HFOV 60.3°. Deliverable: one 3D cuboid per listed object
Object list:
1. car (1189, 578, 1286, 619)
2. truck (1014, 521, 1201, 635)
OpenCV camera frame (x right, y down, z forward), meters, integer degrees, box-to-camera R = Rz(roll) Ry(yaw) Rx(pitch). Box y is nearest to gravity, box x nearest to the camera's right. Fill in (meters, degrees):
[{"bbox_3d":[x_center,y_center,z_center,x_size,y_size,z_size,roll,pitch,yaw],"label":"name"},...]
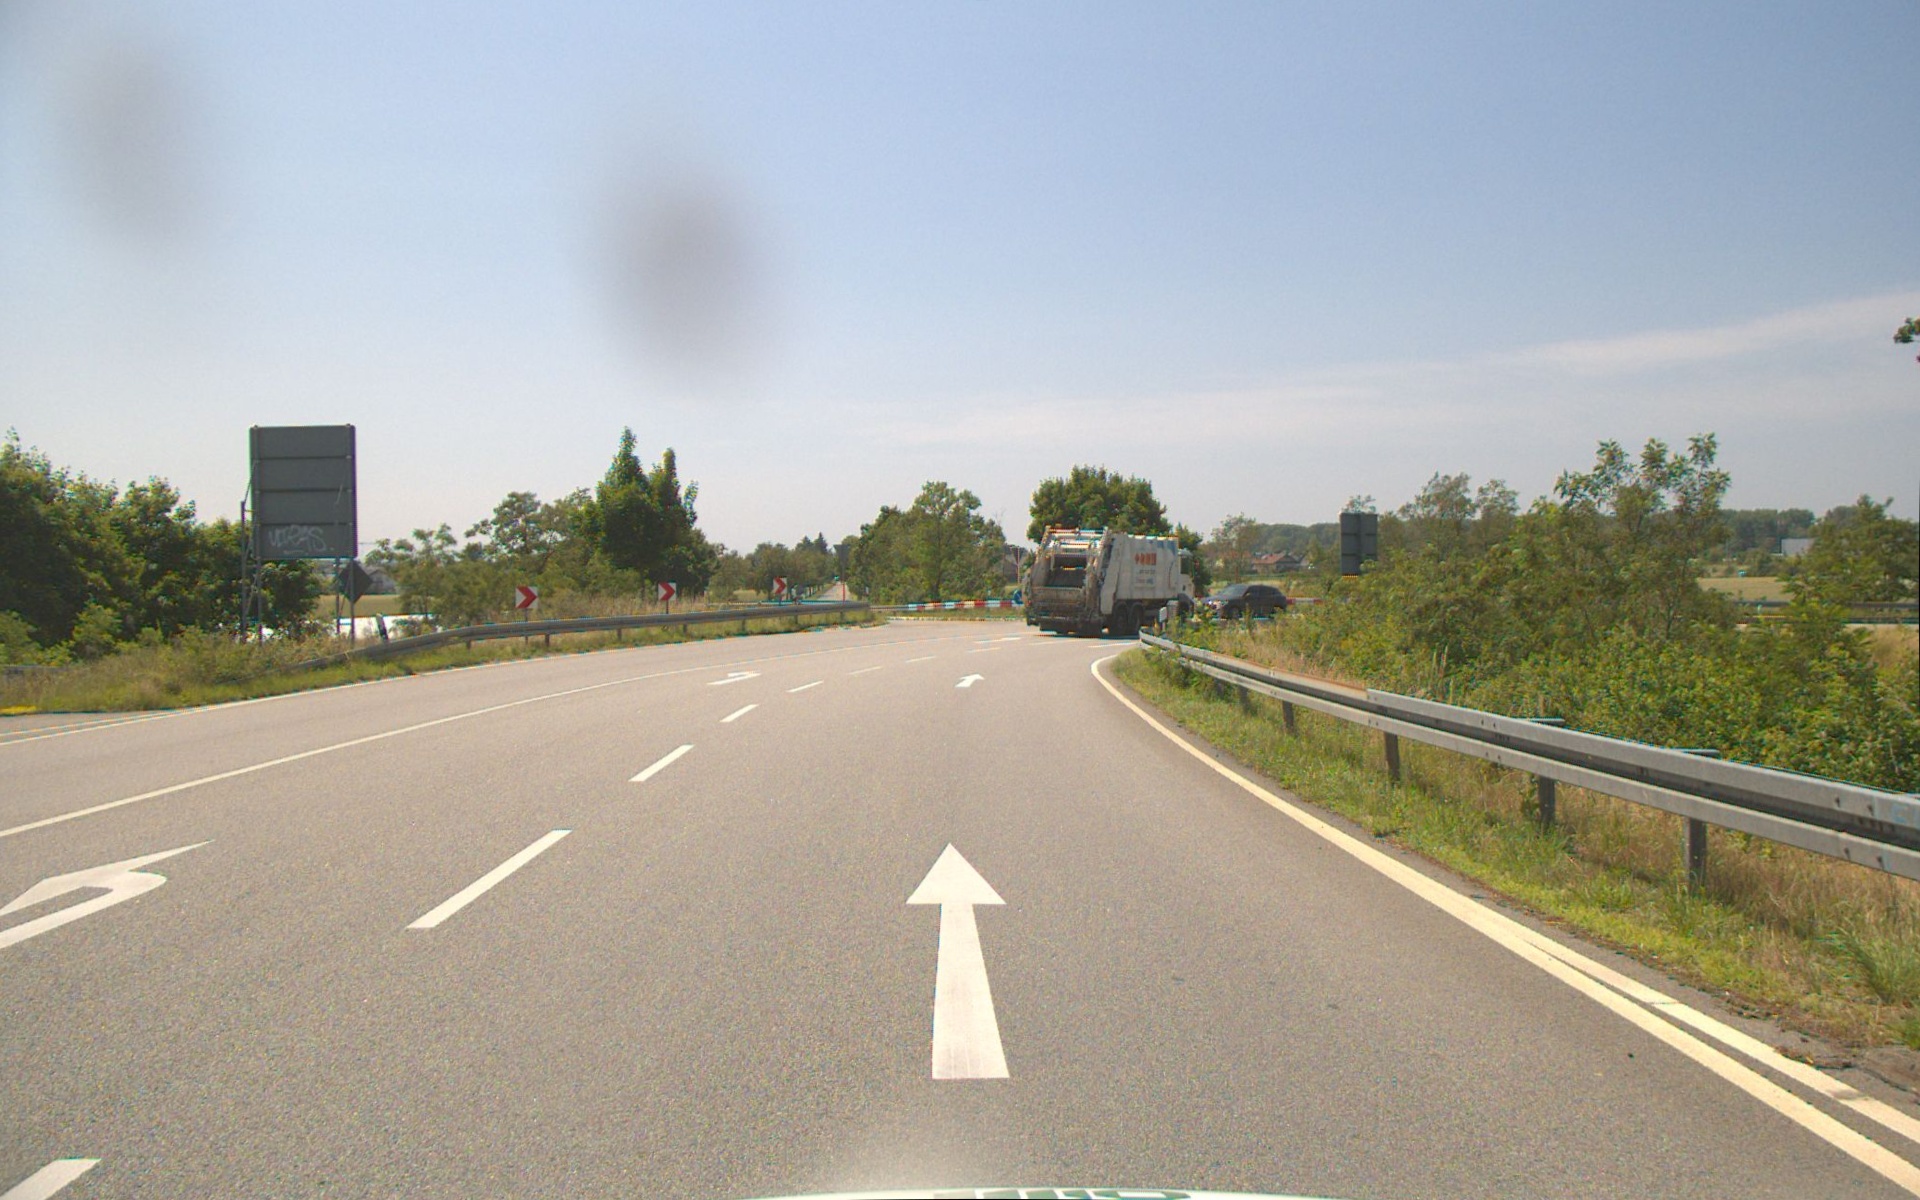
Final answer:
[{"bbox_3d":[12.200,-0.066,72.580,4.527,1.686,1.692,1,2,-42],"label":"car"},{"bbox_3d":[5.469,-0.731,59.054,2.760,3.733,9.928,1,0,30],"label":"truck"}]
